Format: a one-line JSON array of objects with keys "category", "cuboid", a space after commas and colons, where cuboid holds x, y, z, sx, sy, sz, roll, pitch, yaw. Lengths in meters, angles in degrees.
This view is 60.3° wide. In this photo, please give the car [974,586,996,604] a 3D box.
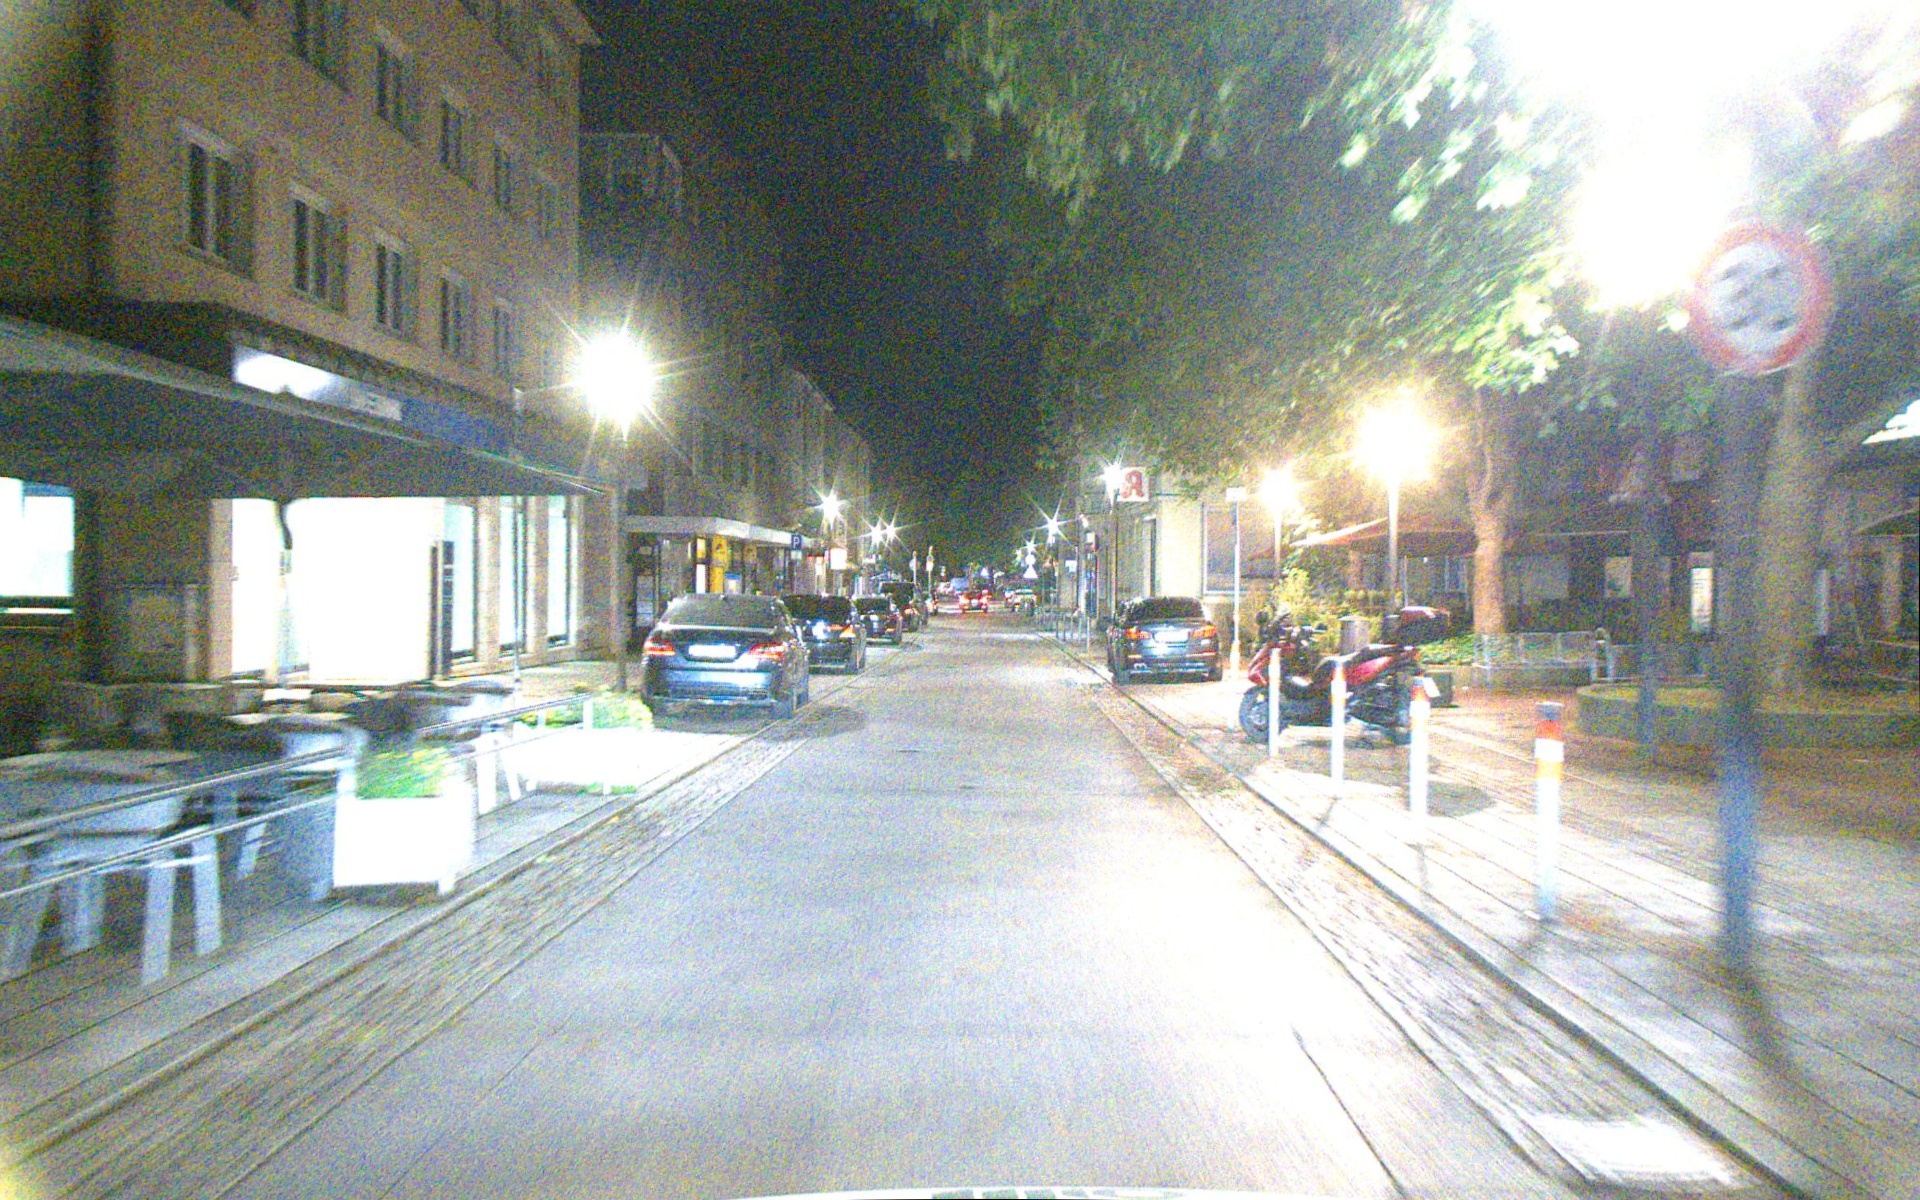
[{"category": "car", "cuboid": [2.538, -0.516, 168.087, 1.780, 1.860, 4.342, 0, 0, -6]}]

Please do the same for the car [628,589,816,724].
[{"category": "car", "cuboid": [-2.880, 0.635, 20.911, 1.861, 1.496, 4.523, 1, 0, -2]}]

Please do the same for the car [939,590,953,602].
[{"category": "car", "cuboid": [-1.734, -0.514, 206.898, 1.501, 1.443, 3.842, 0, 0, -5]}]

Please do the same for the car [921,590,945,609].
[{"category": "car", "cuboid": [-2.229, -0.069, 137.142, 1.641, 1.570, 4.226, 1, 0, -5]}]

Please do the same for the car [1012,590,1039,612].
[{"category": "car", "cuboid": [4.621, 0.073, 117.086, 1.752, 1.517, 4.059, -1, 0, 1]}]

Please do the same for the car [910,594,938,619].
[{"category": "car", "cuboid": [-2.259, 0.414, 103.656, 1.693, 1.502, 3.846, 1, 0, -1]}]

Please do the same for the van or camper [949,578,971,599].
[{"category": "van or camper", "cuboid": [-0.027, -1.392, 194.261, 2.068, 2.357, 4.256, -1, 0, -6]}]

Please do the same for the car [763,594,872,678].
[{"category": "car", "cuboid": [-2.726, 0.655, 32.615, 1.807, 1.489, 4.622, 2, 0, -1]}]

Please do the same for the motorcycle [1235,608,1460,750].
[{"category": "motorcycle", "cuboid": [3.774, 0.744, 16.239, 2.129, 1.320, 0.513, -1, 0, 39]}]

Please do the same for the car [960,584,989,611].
[{"category": "car", "cuboid": [1.012, -0.187, 116.551, 1.953, 1.855, 3.999, 0, 0, -1]}]

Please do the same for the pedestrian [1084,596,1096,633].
[{"category": "pedestrian", "cuboid": [5.634, 0.636, 71.804, 0.490, 1.575, 0.480, 1, 0, 6]}]

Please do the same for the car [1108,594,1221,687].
[{"category": "car", "cuboid": [3.608, 0.678, 29.854, 1.716, 1.489, 4.468, -2, 0, 3]}]

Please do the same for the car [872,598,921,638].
[{"category": "car", "cuboid": [-2.469, 0.684, 65.178, 1.681, 1.437, 4.386, 2, 0, 1]}]

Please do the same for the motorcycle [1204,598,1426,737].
[{"category": "motorcycle", "cuboid": [3.788, 0.701, 17.713, 2.219, 1.415, 0.661, -1, 0, 25]}]

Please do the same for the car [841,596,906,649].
[{"category": "car", "cuboid": [-2.591, 0.664, 50.499, 1.760, 1.504, 4.321, 1, 0, 0]}]

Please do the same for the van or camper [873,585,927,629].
[{"category": "van or camper", "cuboid": [-2.739, 0.303, 77.167, 1.807, 1.976, 5.157, 1, 0, 6]}]

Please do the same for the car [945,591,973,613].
[{"category": "car", "cuboid": [-0.108, 0.177, 133.472, 1.954, 1.732, 3.996, 0, 0, -5]}]

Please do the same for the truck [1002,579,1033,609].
[{"category": "truck", "cuboid": [4.577, -0.499, 132.481, 2.288, 2.352, 5.780, 0, 0, 0]}]

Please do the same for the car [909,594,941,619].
[{"category": "car", "cuboid": [-2.262, 0.420, 108.963, 1.978, 1.514, 5.007, 3, 0, 0]}]

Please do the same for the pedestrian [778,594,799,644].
[{"category": "pedestrian", "cuboid": [-6.168, 0.675, 59.532, 0.608, 1.776, 1.023, 1, 0, 1]}]

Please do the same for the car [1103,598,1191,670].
[{"category": "car", "cuboid": [3.950, 0.688, 35.384, 1.626, 1.401, 4.105, -2, 0, 3]}]

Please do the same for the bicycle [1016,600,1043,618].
[{"category": "bicycle", "cuboid": [4.443, 0.575, 105.532, 1.719, 1.080, 0.346, 0, 0, -3]}]

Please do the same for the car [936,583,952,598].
[{"category": "car", "cuboid": [-2.062, -1.207, 213.037, 1.803, 1.934, 3.842, 0, 0, -5]}]
